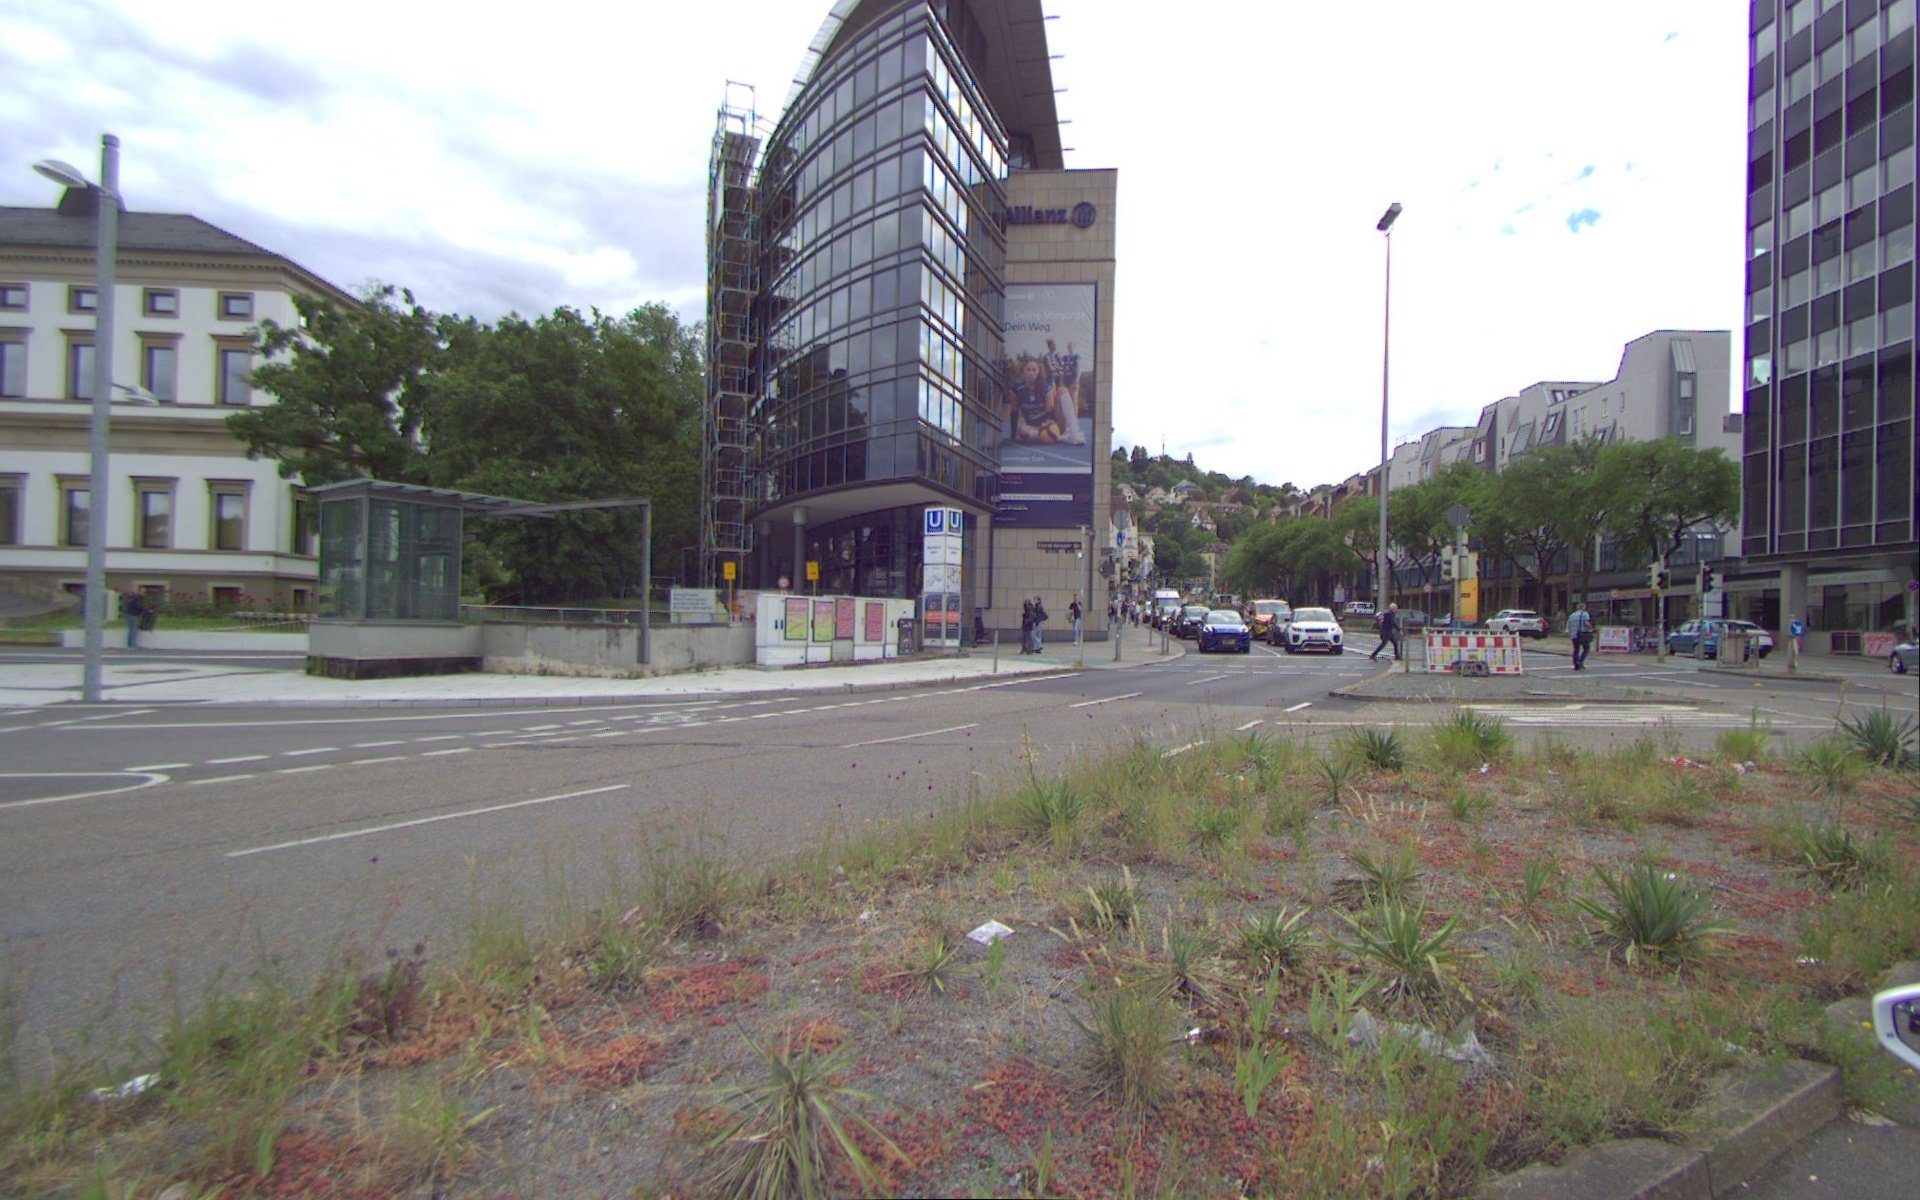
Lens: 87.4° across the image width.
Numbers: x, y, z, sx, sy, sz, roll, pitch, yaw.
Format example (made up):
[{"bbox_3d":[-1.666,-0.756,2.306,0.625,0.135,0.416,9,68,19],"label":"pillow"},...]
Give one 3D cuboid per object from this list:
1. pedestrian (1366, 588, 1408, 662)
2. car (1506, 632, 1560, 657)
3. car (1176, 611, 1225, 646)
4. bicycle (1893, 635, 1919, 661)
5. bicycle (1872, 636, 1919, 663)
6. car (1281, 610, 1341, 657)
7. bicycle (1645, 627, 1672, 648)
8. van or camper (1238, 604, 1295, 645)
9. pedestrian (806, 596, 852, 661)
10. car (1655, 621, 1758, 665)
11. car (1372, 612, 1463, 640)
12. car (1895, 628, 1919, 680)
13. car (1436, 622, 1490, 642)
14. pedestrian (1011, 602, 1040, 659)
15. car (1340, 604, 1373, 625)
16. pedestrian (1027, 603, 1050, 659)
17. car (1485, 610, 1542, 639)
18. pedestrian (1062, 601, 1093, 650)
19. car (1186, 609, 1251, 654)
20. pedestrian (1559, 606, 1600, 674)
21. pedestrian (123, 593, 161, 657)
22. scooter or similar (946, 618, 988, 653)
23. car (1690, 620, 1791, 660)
[{"bbox_3d":[12.918,0.762,30.408,0.863,2.201,0.761,1,0,-11],"label":"pedestrian"},{"bbox_3d":[35.266,2.712,61.907,1.801,1.381,3.769,0,-1,12],"label":"car"},{"bbox_3d":[12.295,1.437,51.651,1.959,1.667,4.685,0,0,7],"label":"car"},{"bbox_3d":[40.904,2.043,42.829,0.702,1.062,1.482,1,0,-13],"label":"bicycle"},{"bbox_3d":[40.095,2.104,42.938,0.702,1.062,1.482,1,0,-13],"label":"bicycle"},{"bbox_3d":[12.820,1.191,36.879,1.705,1.620,4.321,1,-1,15],"label":"car"},{"bbox_3d":[40.578,2.183,58.359,0.481,1.147,1.845,1,0,7],"label":"bicycle"},{"bbox_3d":[15.300,1.189,50.382,1.880,1.947,5.087,0,-1,7],"label":"van or camper"},{"bbox_3d":[-3.402,0.749,26.162,0.643,1.634,0.964,1,-3,30],"label":"pedestrian"},{"bbox_3d":[28.327,1.600,38.243,1.801,1.537,3.769,0,-1,13],"label":"car"},{"bbox_3d":[26.025,1.452,57.264,4.473,1.478,1.882,1,0,16],"label":"car"},{"bbox_3d":[28.718,1.611,28.833,1.807,1.451,4.139,3,1,30],"label":"car"},{"bbox_3d":[37.695,2.371,75.394,2.021,1.437,4.335,0,-1,3],"label":"car"},{"bbox_3d":[1.998,0.921,30.641,0.754,1.723,0.633,1,0,12],"label":"pedestrian"},{"bbox_3d":[36.467,1.323,92.453,1.801,1.899,4.873,0,-1,9],"label":"car"},{"bbox_3d":[2.461,0.965,31.515,0.631,1.723,0.633,1,0,12],"label":"pedestrian"},{"bbox_3d":[31.470,1.396,57.206,1.801,1.587,3.769,0,-1,11],"label":"car"},{"bbox_3d":[4.478,0.968,38.312,0.918,1.834,0.694,1,0,-17],"label":"pedestrian"},{"bbox_3d":[9.711,1.148,37.994,1.959,1.545,4.094,1,0,9],"label":"car"},{"bbox_3d":[17.022,1.087,27.617,0.703,1.814,0.635,-2,1,7],"label":"pedestrian"},{"bbox_3d":[-23.756,0.709,29.187,0.583,1.837,0.604,0,0,11],"label":"pedestrian"},{"bbox_3d":[0.247,1.253,35.860,1.366,1.224,0.530,1,0,-24],"label":"scooter or similar"},{"bbox_3d":[32.380,1.628,41.783,1.801,1.537,3.769,0,-1,11],"label":"car"}]
